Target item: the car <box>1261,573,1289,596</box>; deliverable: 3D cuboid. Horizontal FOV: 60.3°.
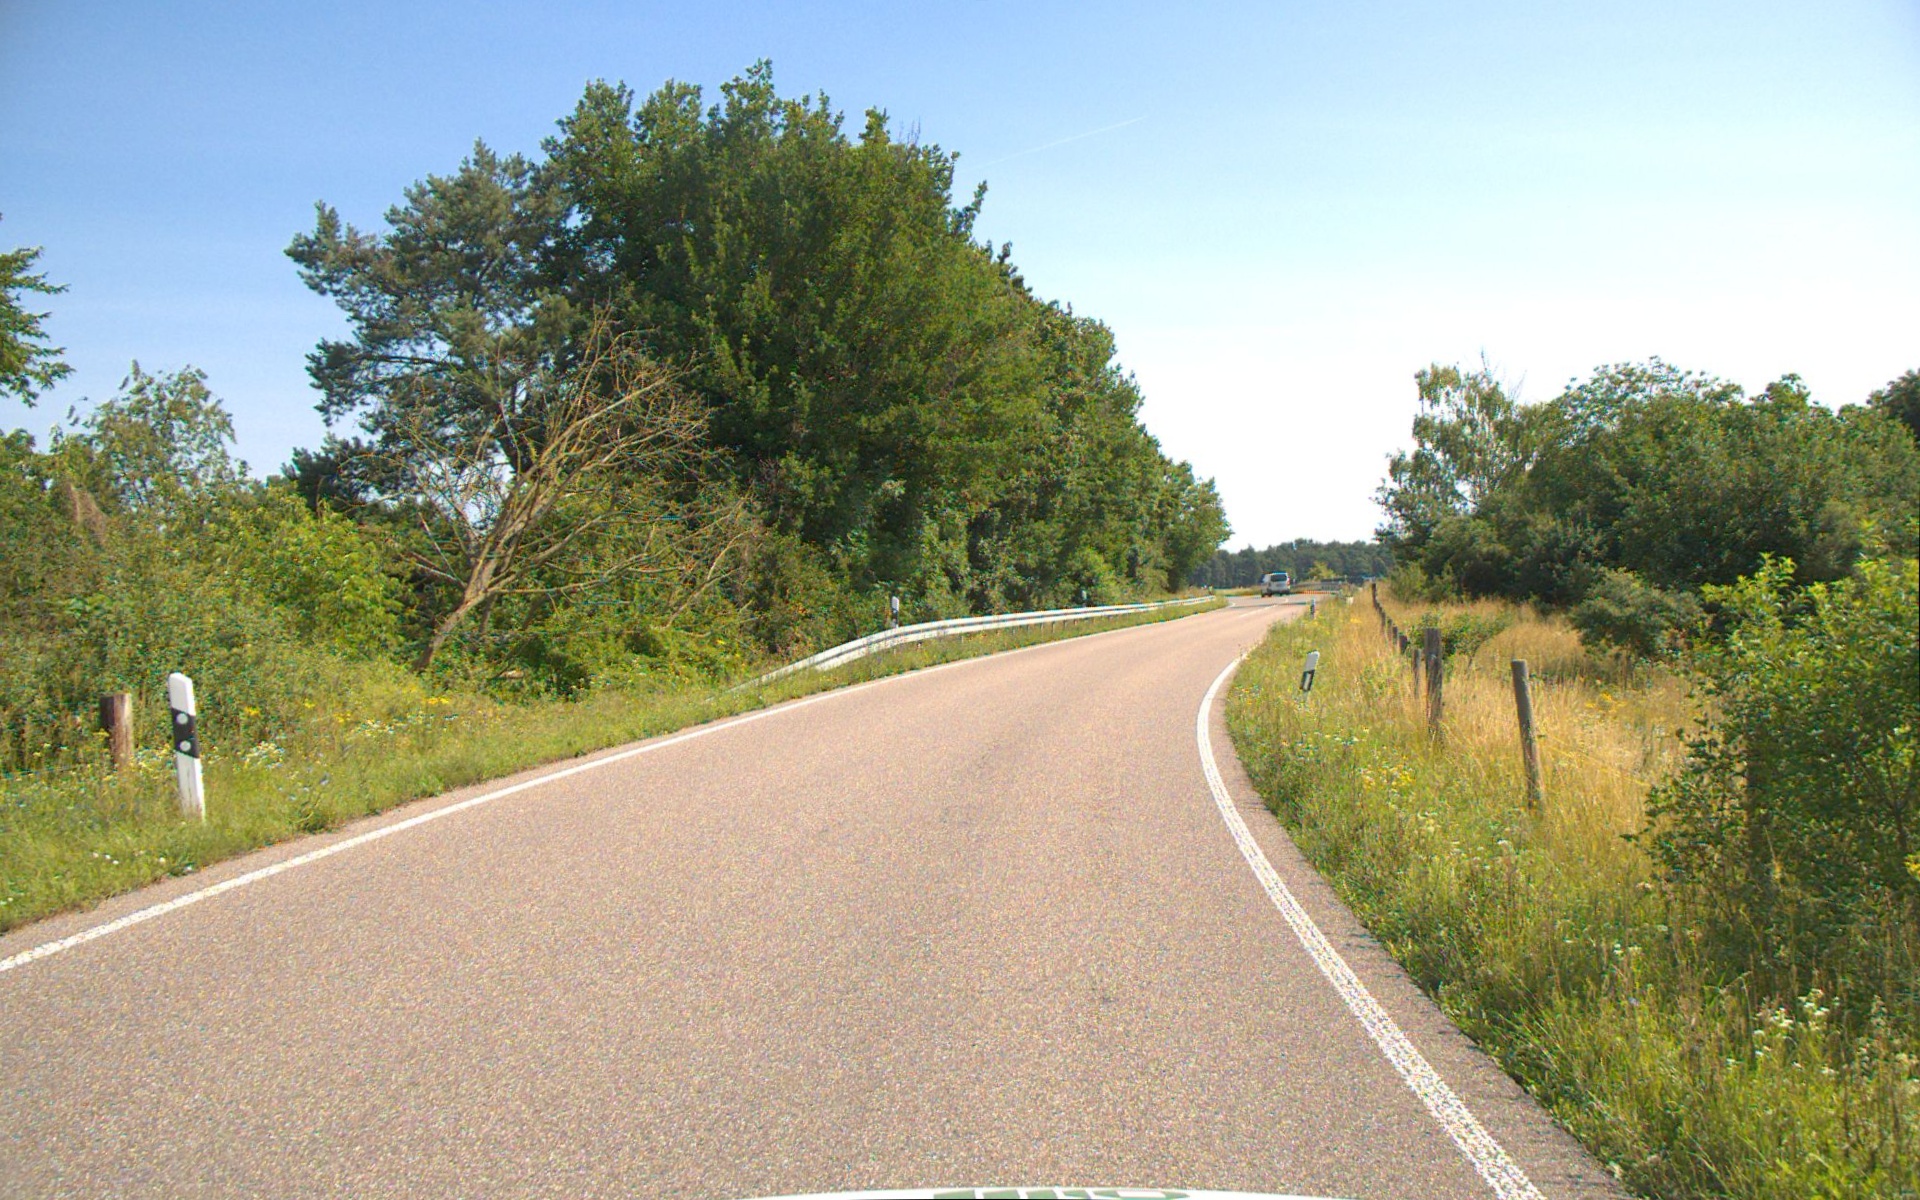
[{"bbox_3d":[26.950,-1.290,141.594,1.921,1.834,4.162,0,-1,3],"label":"car"}]
